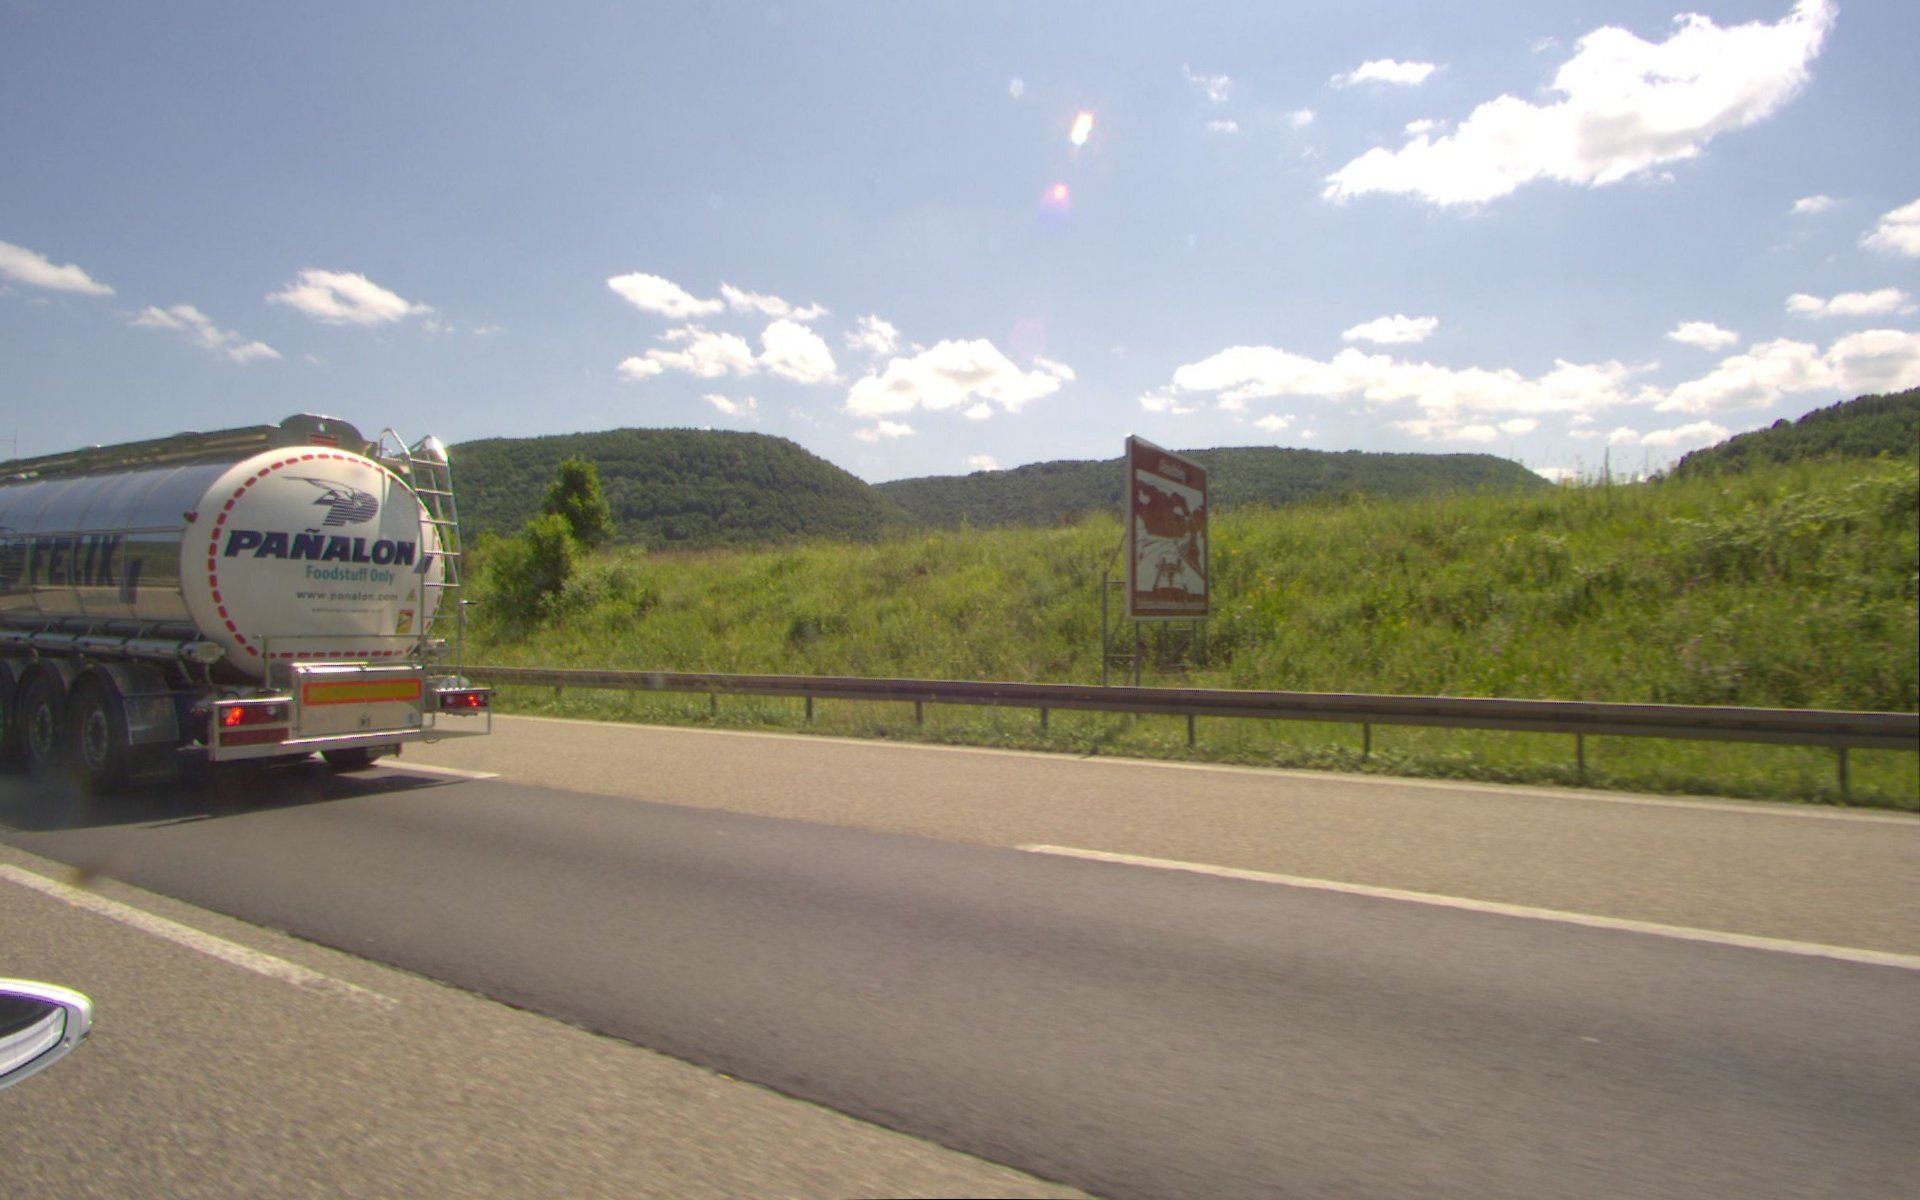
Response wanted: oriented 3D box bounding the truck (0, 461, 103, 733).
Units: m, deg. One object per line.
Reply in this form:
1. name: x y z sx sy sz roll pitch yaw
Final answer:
1. truck: -15.691 -0.014 15.268 5.169 3.807 2.508 -1 -1 31

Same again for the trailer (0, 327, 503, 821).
1. trailer: -10.142 -0.101 11.836 11.718 3.784 2.534 -1 -1 32
